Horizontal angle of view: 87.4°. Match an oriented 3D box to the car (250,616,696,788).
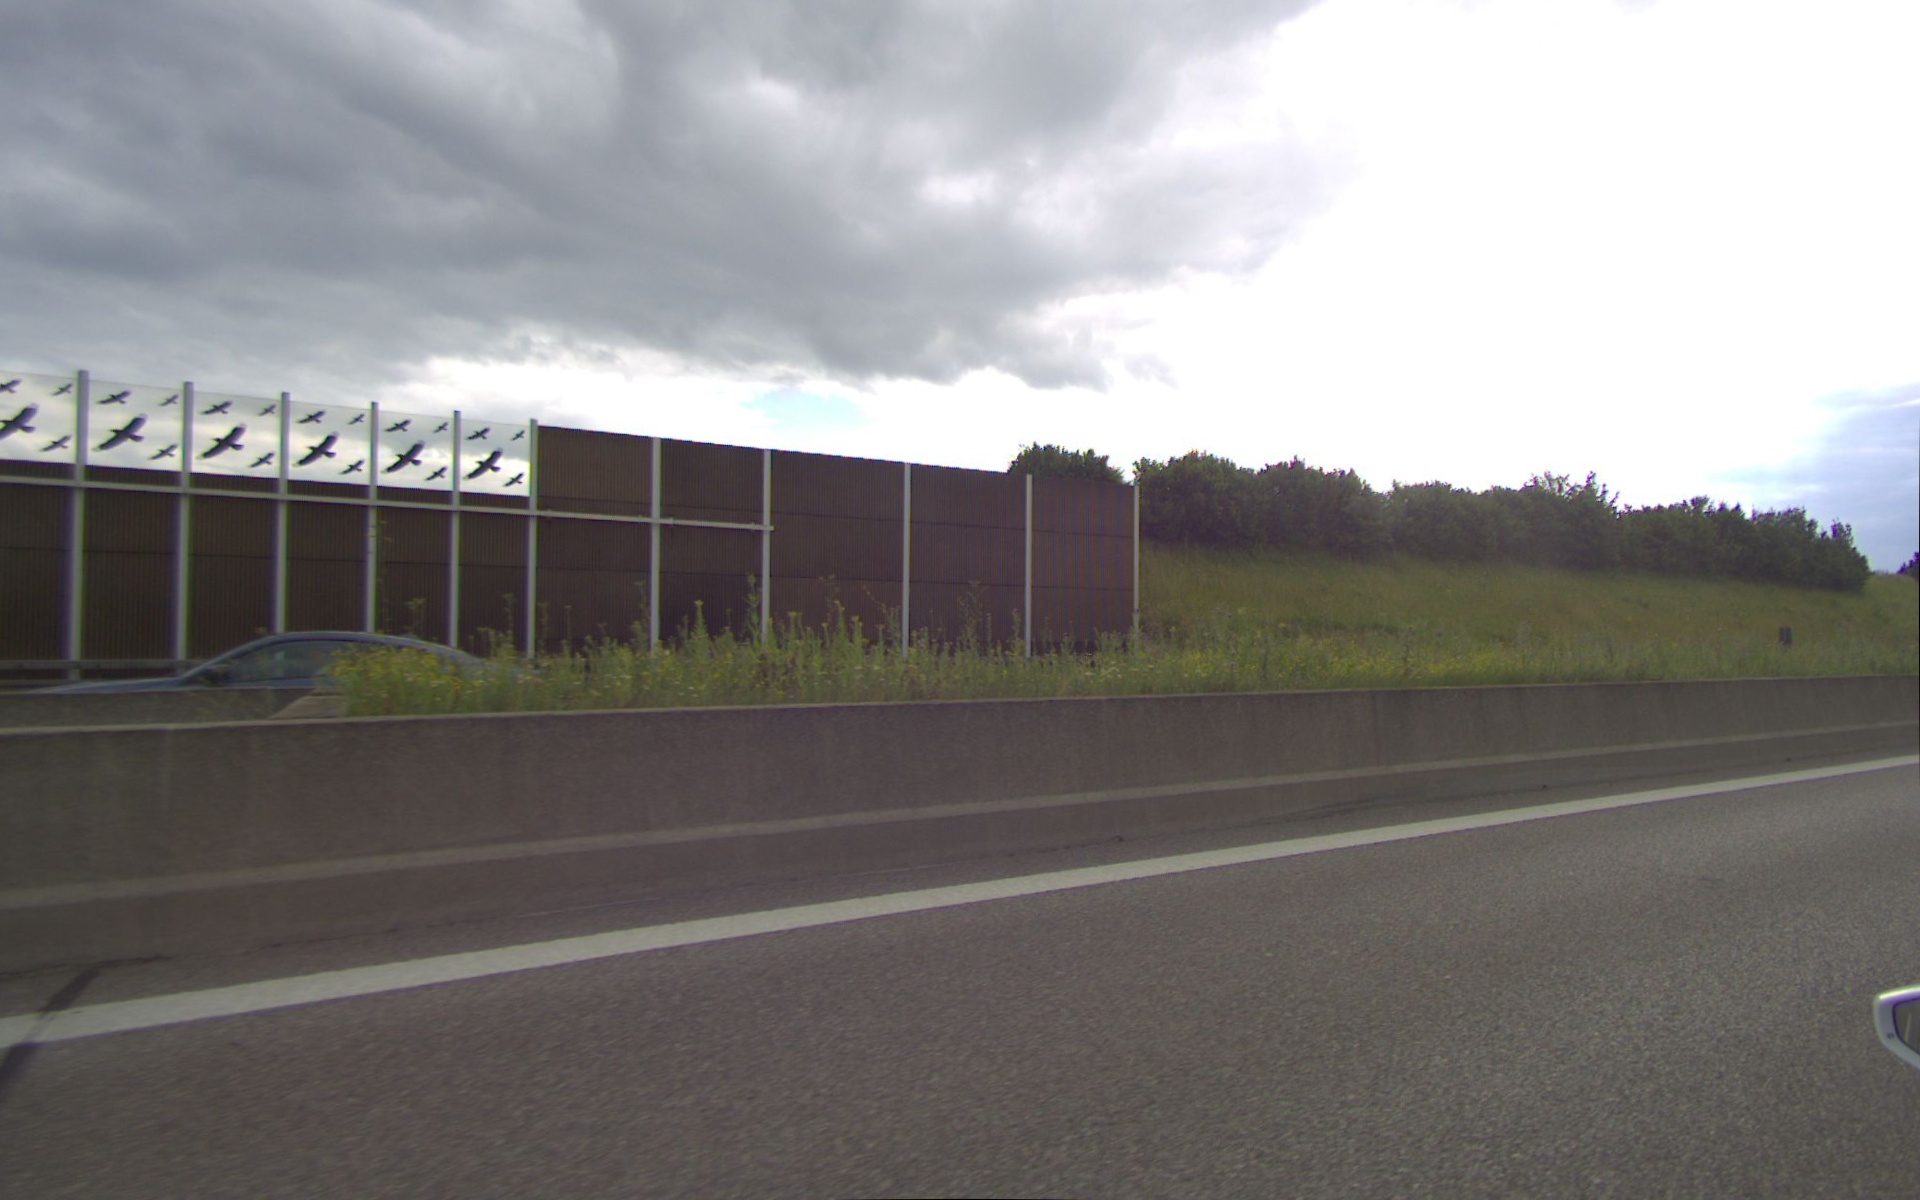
[{"bbox_3d":[-5.002,0.956,10.621,3.956,1.507,1.696,2,-1,-32],"label":"car"}]
